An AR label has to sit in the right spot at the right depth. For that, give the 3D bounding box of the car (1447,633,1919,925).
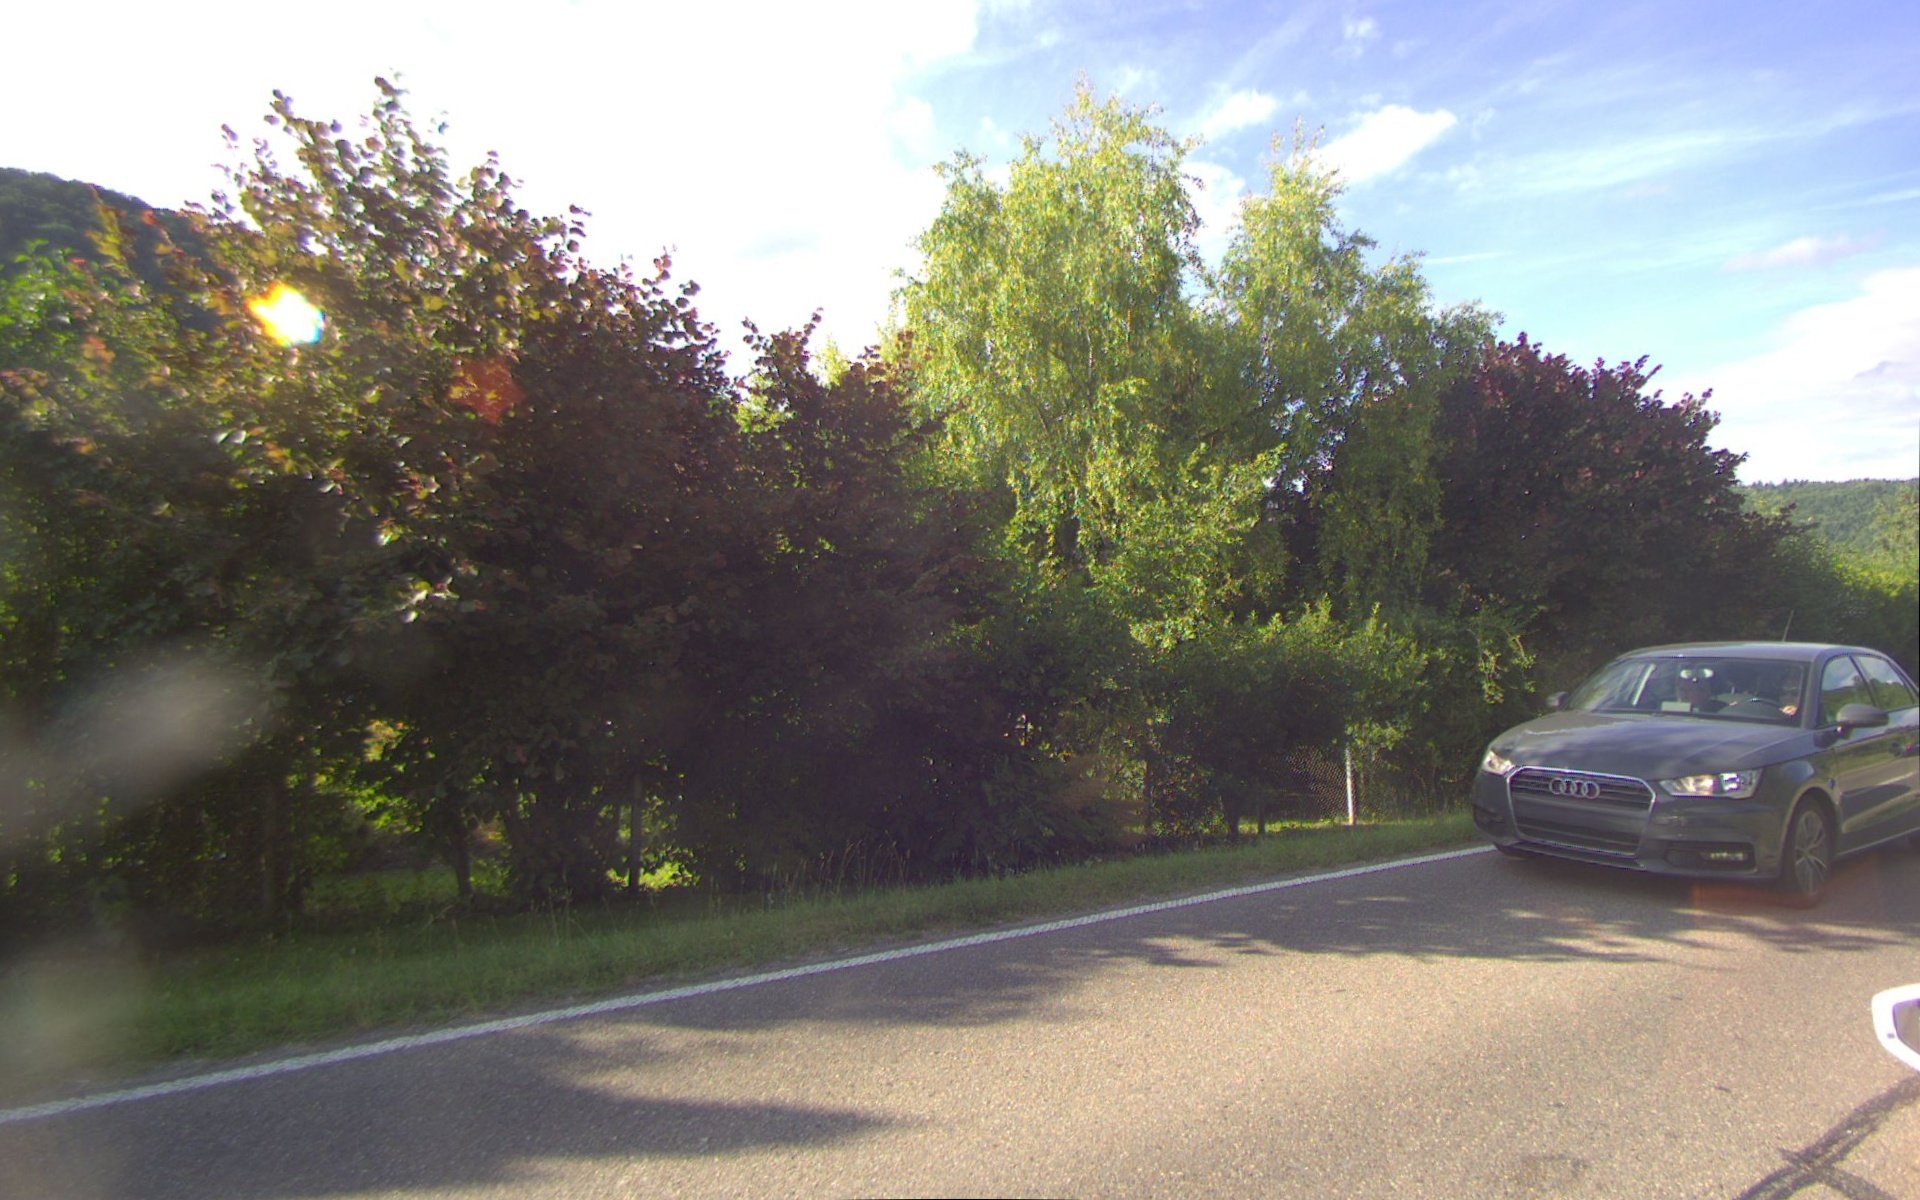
[{"bbox_3d":[5.086,0.959,6.639,3.747,1.434,1.619,2,-3,-32],"label":"car"}]
